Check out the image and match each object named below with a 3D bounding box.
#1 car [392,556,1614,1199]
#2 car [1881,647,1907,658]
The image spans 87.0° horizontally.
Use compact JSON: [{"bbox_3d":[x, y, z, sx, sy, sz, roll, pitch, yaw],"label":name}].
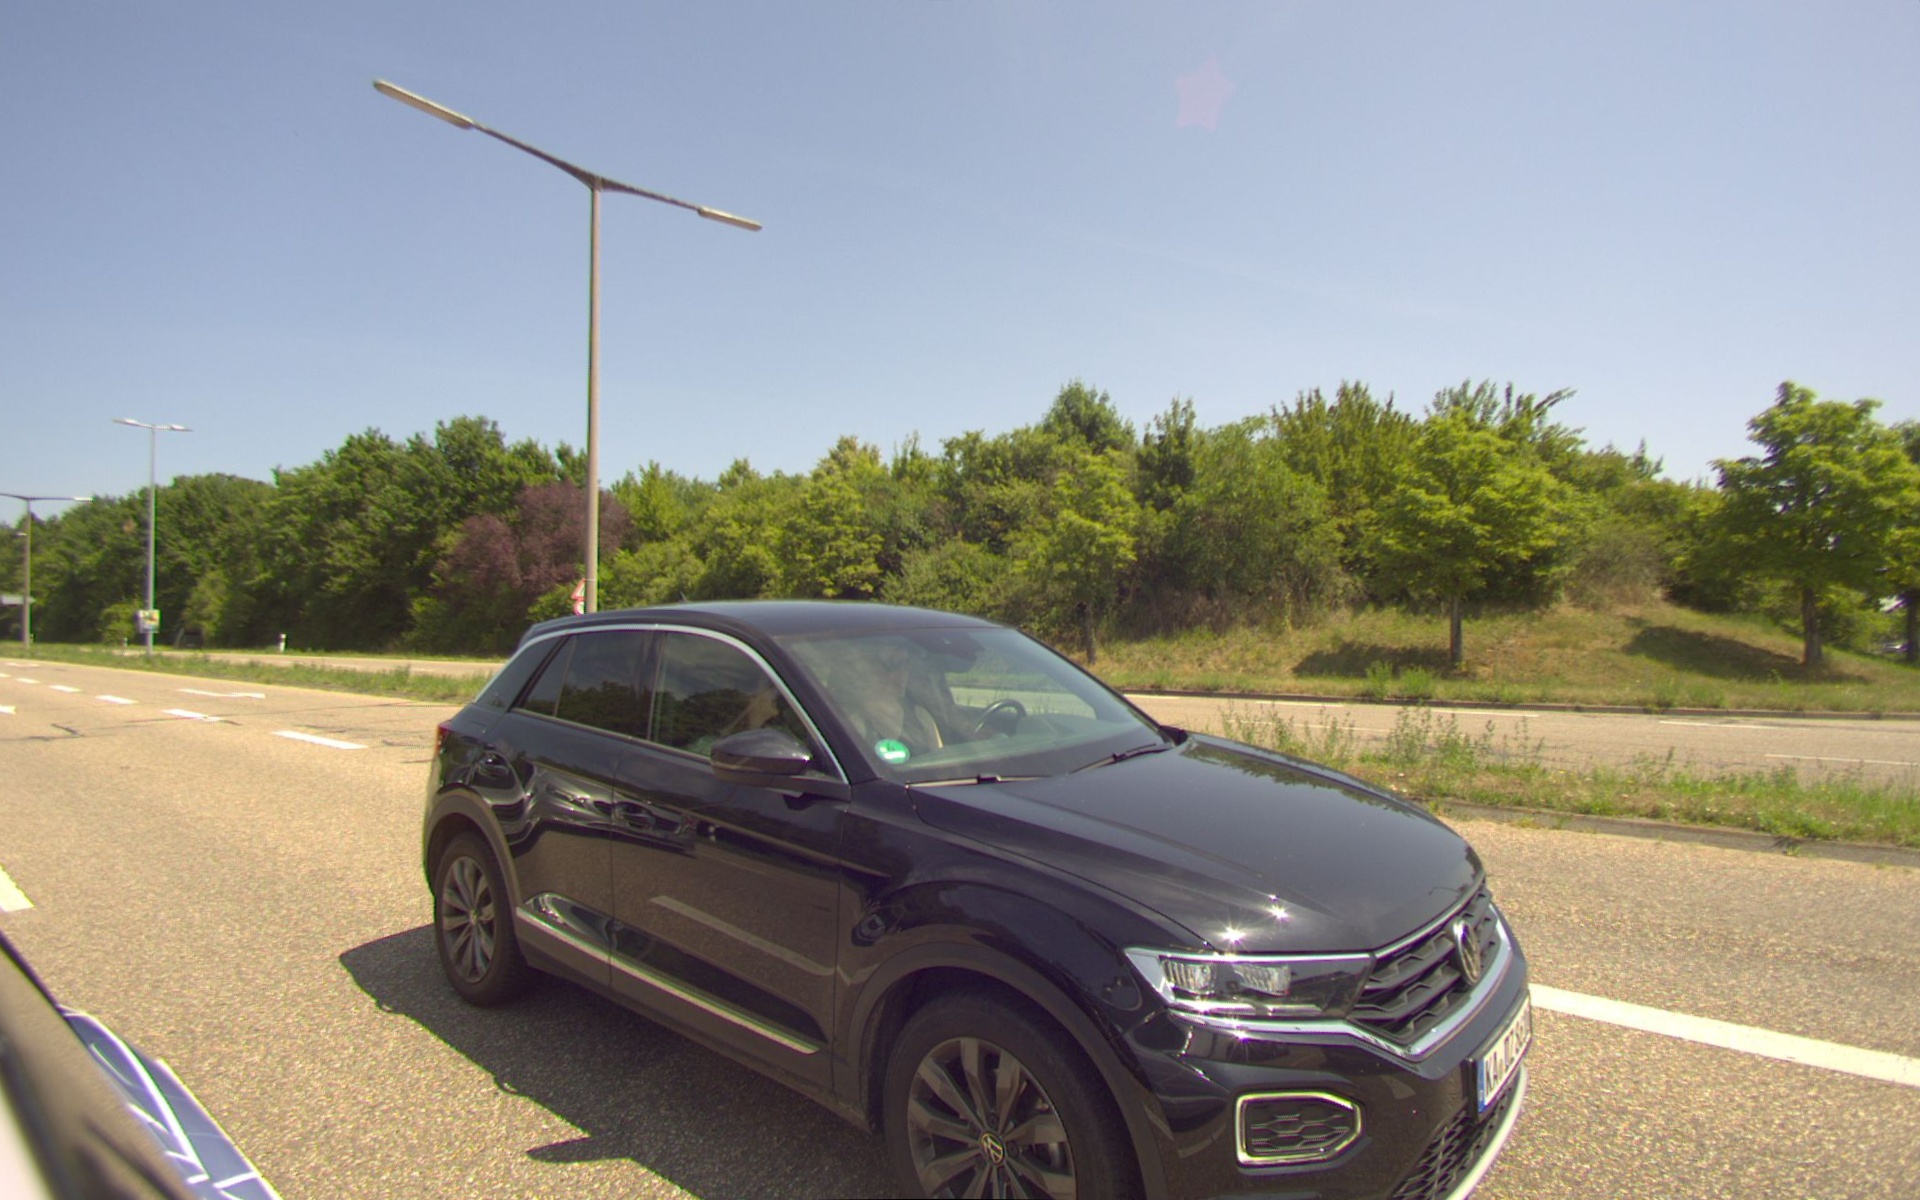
[{"bbox_3d":[-0.253,0.710,3.449,3.969,1.523,1.716,-1,0,41],"label":"car"},{"bbox_3d":[122.913,6.877,133.269,1.697,1.346,3.957,-1,-2,31],"label":"car"}]
